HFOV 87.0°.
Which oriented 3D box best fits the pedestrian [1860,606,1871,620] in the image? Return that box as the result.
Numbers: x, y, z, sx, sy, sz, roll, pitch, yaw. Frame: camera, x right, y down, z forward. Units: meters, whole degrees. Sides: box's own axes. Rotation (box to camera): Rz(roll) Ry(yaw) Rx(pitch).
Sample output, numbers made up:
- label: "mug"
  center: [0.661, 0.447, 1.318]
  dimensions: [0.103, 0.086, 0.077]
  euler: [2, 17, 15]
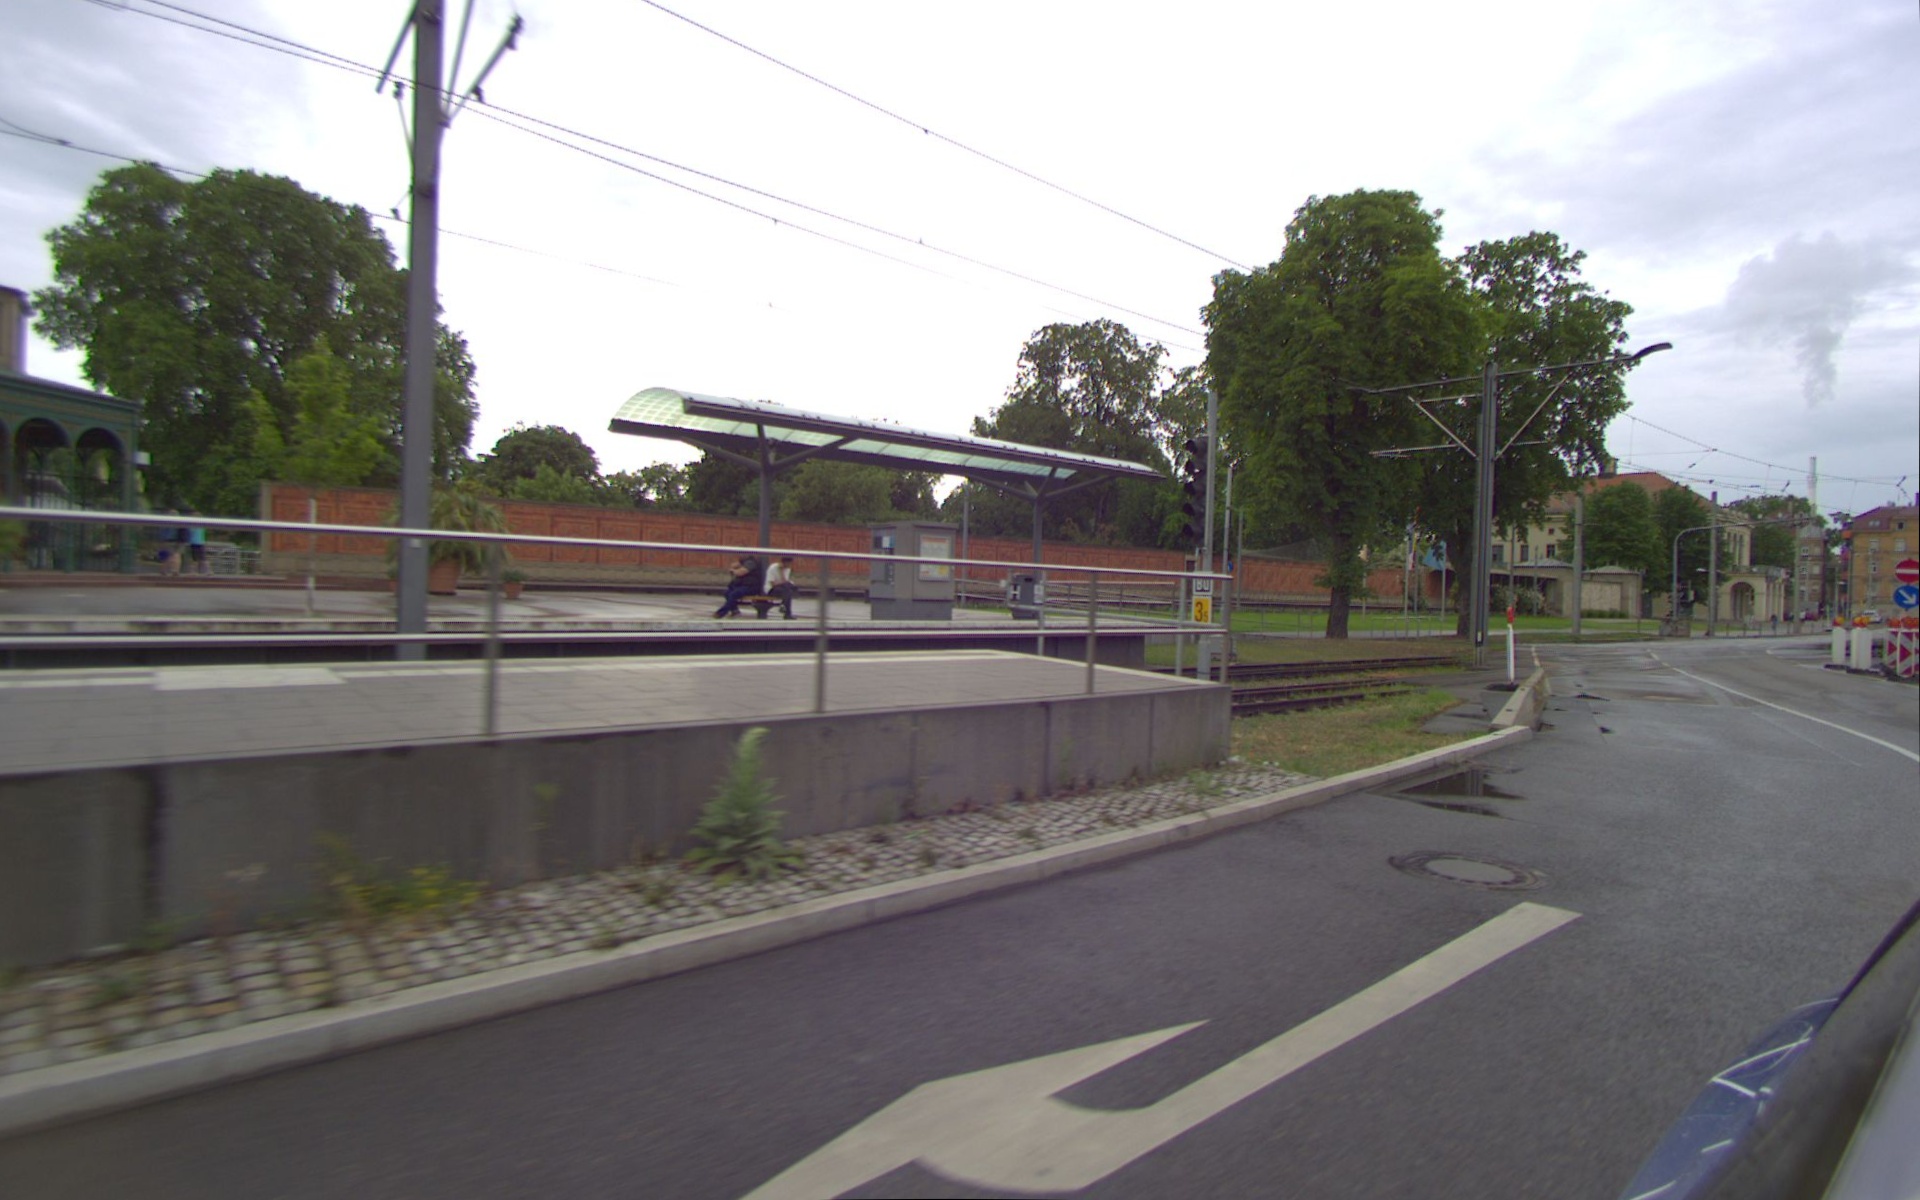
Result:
- label: "pedestrian"
  center: [117.879, 1.723, 131.760]
  dimensions: [0.769, 1.829, 0.696]
  euler: [1, 0, 10]

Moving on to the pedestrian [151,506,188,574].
- label: "pedestrian"
  center: [-20.629, -1.553, 26.423]
  dimensions: [0.681, 1.732, 0.533]
  euler: [0, 0, -28]

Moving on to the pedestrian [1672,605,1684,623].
- label: "pedestrian"
  center: [73.431, 1.433, 103.499]
  dimensions: [0.964, 1.732, 0.730]
  euler: [2, 2, -40]

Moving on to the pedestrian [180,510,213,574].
- label: "pedestrian"
  center: [-20.517, -1.542, 27.188]
  dimensions: [0.460, 1.677, 0.552]
  euler: [2, 1, -5]

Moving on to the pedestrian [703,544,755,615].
- label: "pedestrian"
  center: [-4.161, -0.357, 18.229]
  dimensions: [0.769, 1.228, 0.519]
  euler: [1, -2, -44]

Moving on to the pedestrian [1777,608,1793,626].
- label: "pedestrian"
  center: [78.424, 1.637, 96.205]
  dimensions: [0.654, 1.610, 0.868]
  euler: [3, 2, -14]

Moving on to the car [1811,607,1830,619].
- label: "car"
  center: [122.952, 1.871, 144.609]
  dimensions: [1.827, 1.602, 3.937]
  euler: [4, 2, 44]

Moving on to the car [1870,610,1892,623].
- label: "car"
  center: [114.791, 2.055, 126.086]
  dimensions: [4.075, 1.660, 1.839]
  euler: [1, -1, -45]

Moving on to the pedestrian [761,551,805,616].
- label: "pedestrian"
  center: [-3.173, -0.282, 18.190]
  dimensions: [0.598, 1.133, 0.514]
  euler: [-1, -2, 35]

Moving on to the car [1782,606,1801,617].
- label: "car"
  center: [120.891, 1.683, 147.108]
  dimensions: [1.859, 1.567, 4.002]
  euler: [2, 1, 43]

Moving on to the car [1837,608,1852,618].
- label: "car"
  center: [158.486, 2.276, 181.291]
  dimensions: [1.827, 1.602, 3.937]
  euler: [4, 2, 44]

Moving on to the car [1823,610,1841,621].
- label: "car"
  center: [130.873, 2.316, 151.912]
  dimensions: [1.827, 1.602, 3.937]
  euler: [4, 2, 44]
